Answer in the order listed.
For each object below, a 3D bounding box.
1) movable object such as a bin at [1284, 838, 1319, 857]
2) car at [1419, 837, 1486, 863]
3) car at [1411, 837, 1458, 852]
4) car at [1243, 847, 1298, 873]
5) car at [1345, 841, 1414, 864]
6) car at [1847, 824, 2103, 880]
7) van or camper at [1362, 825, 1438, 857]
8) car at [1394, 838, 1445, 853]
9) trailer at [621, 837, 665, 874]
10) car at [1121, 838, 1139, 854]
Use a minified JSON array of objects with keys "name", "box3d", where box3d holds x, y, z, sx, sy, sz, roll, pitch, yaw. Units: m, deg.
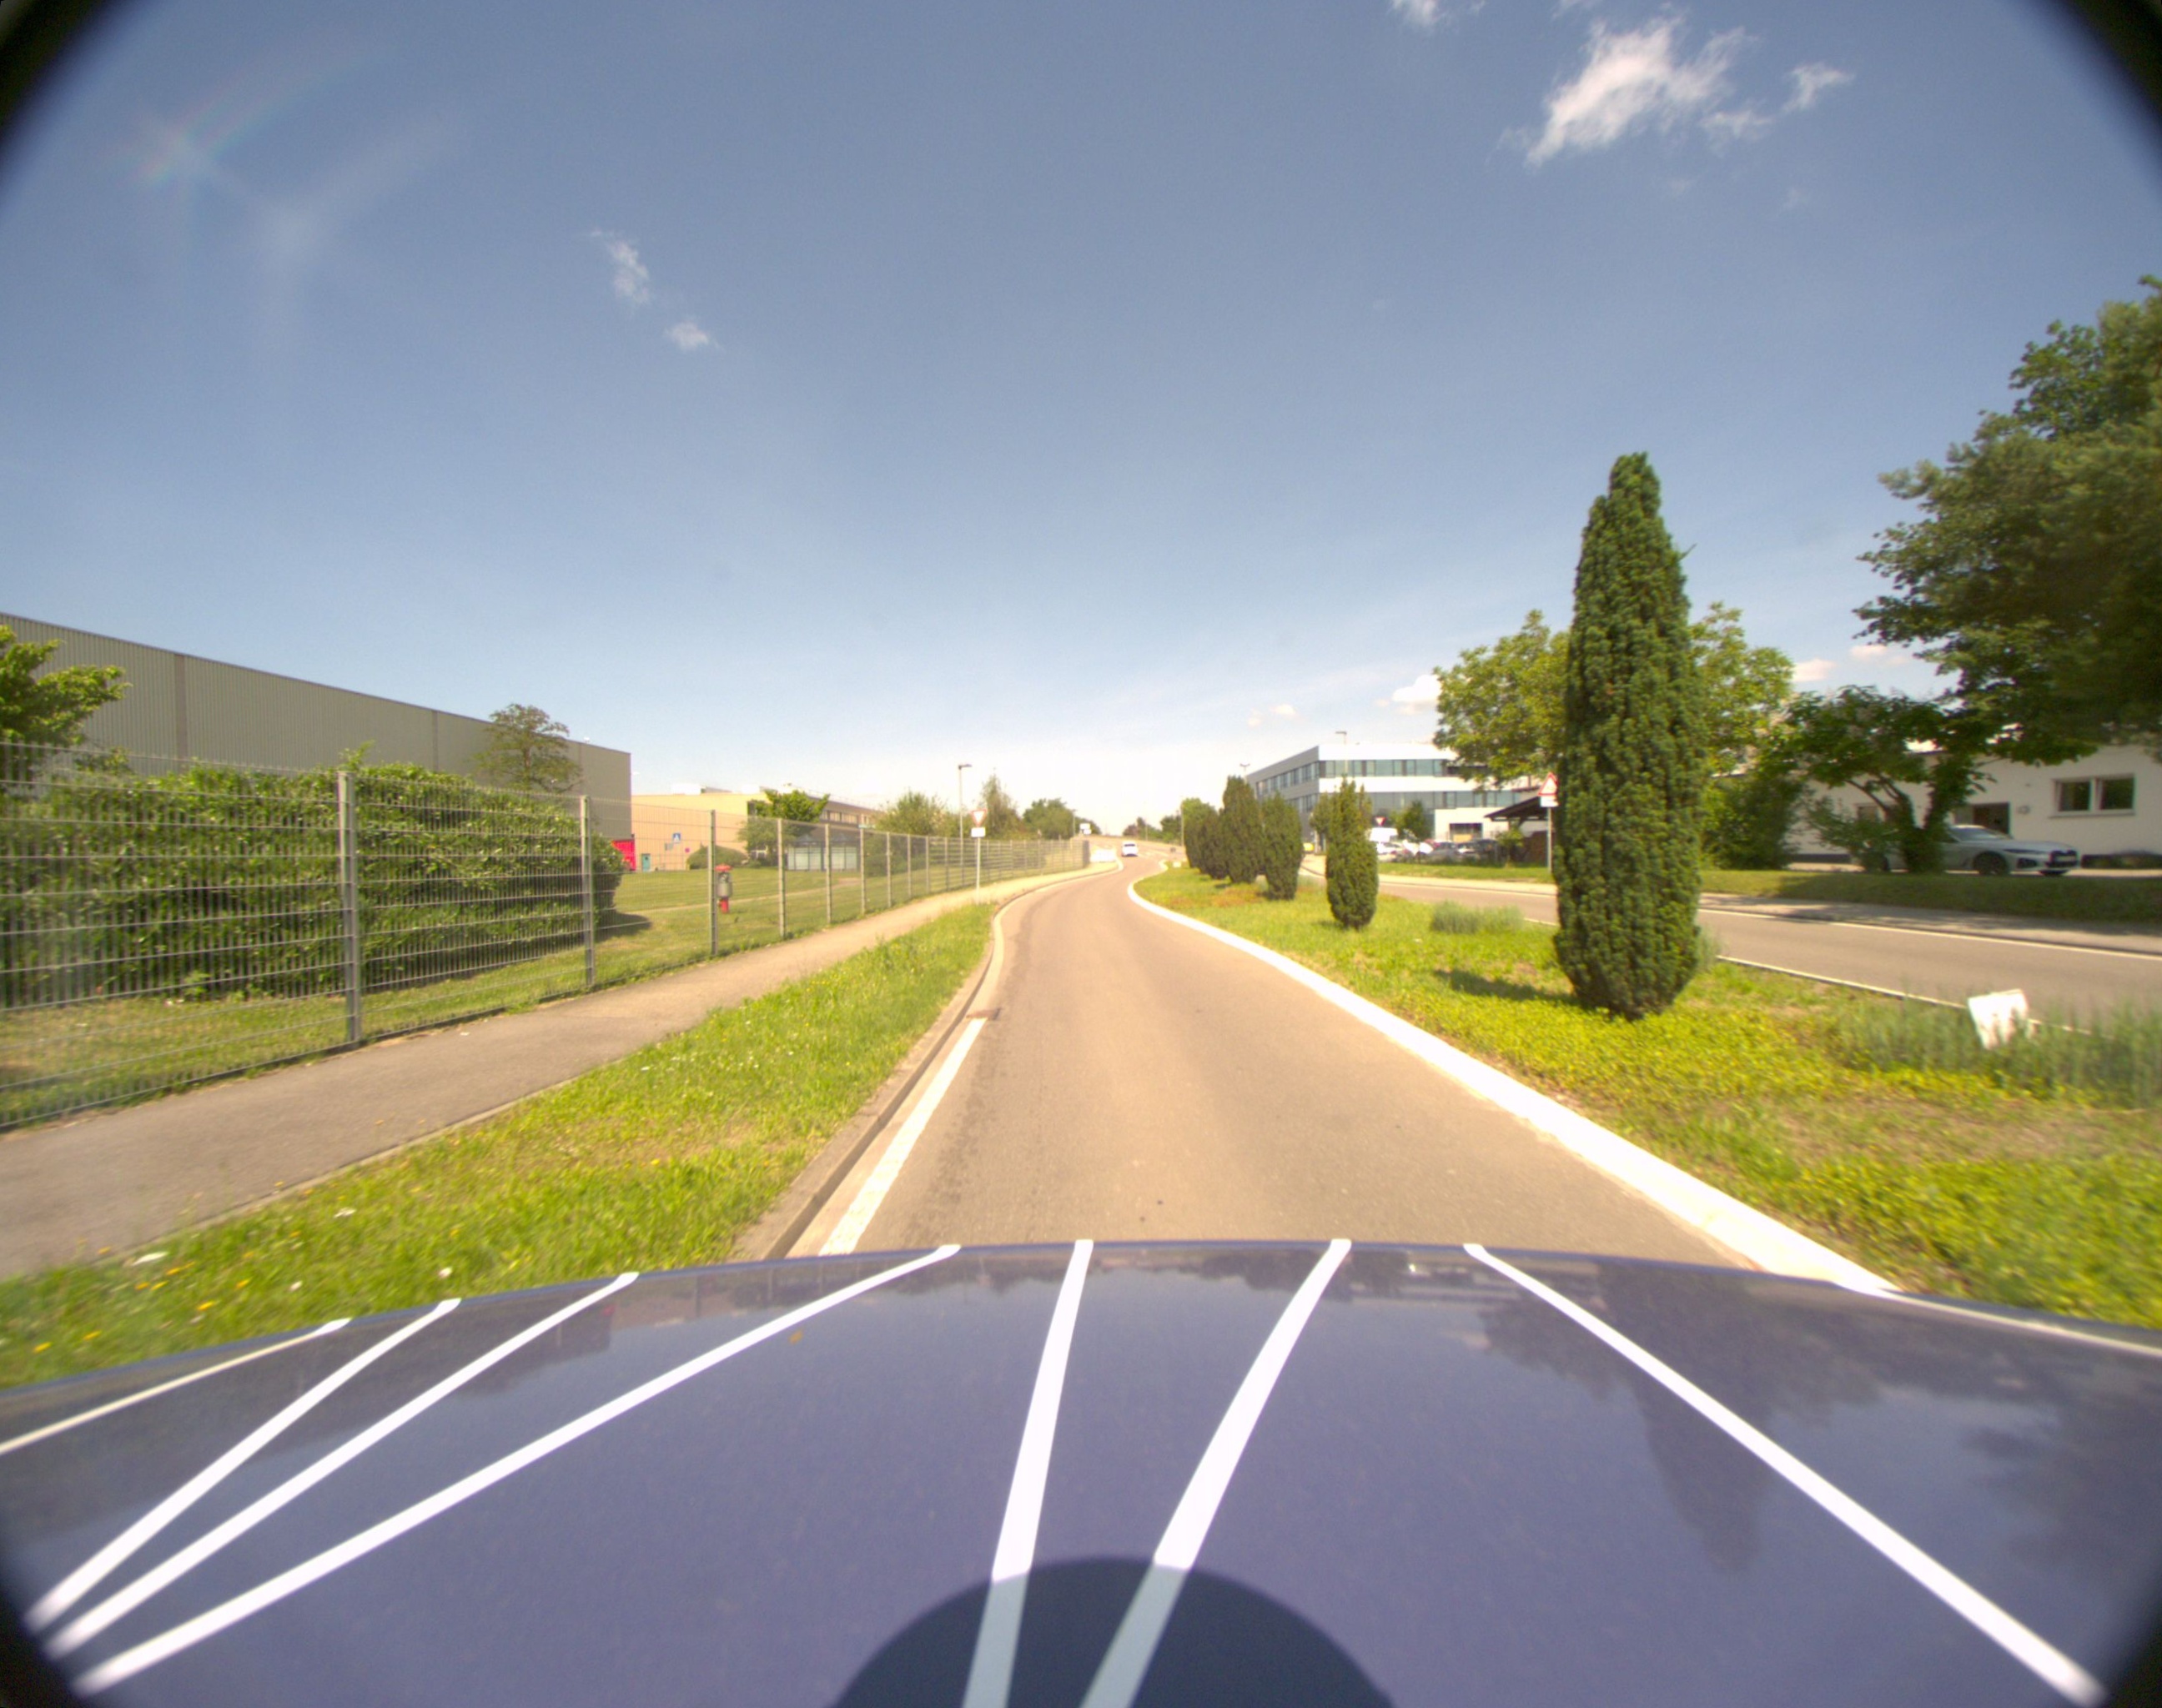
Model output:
[{"name":"movable object such as a bin","box3d":[28.359,-0.860,97.979,2.172,2.396,5.455,-1,1,-9]},{"name":"car","box3d":[21.805,-0.255,44.736,1.998,1.434,3.999,-1,1,1]},{"name":"car","box3d":[33.506,-0.928,72.018,3.732,1.314,1.904,0,2,34]},{"name":"car","box3d":[10.778,0.303,43.602,1.904,1.386,4.864,-1,1,0]},{"name":"car","box3d":[20.254,-0.114,51.659,3.995,1.510,2.001,-1,1,7]},{"name":"car","box3d":[25.275,-0.068,21.806,1.999,1.400,4.515,-1,1,-1]},{"name":"van or camper","box3d":[26.215,-1.038,62.509,5.574,2.483,2.082,0,2,27]},{"name":"car","box3d":[31.508,-0.795,70.762,3.989,1.314,2.004,0,2,34]},{"name":"trailer","box3d":[-34.206,0.108,59.496,2.002,2.706,5.976,-1,1,-21]},{"name":"car","box3d":[6.103,-1.002,94.337,1.998,1.904,3.999,-1,1,0]}]
